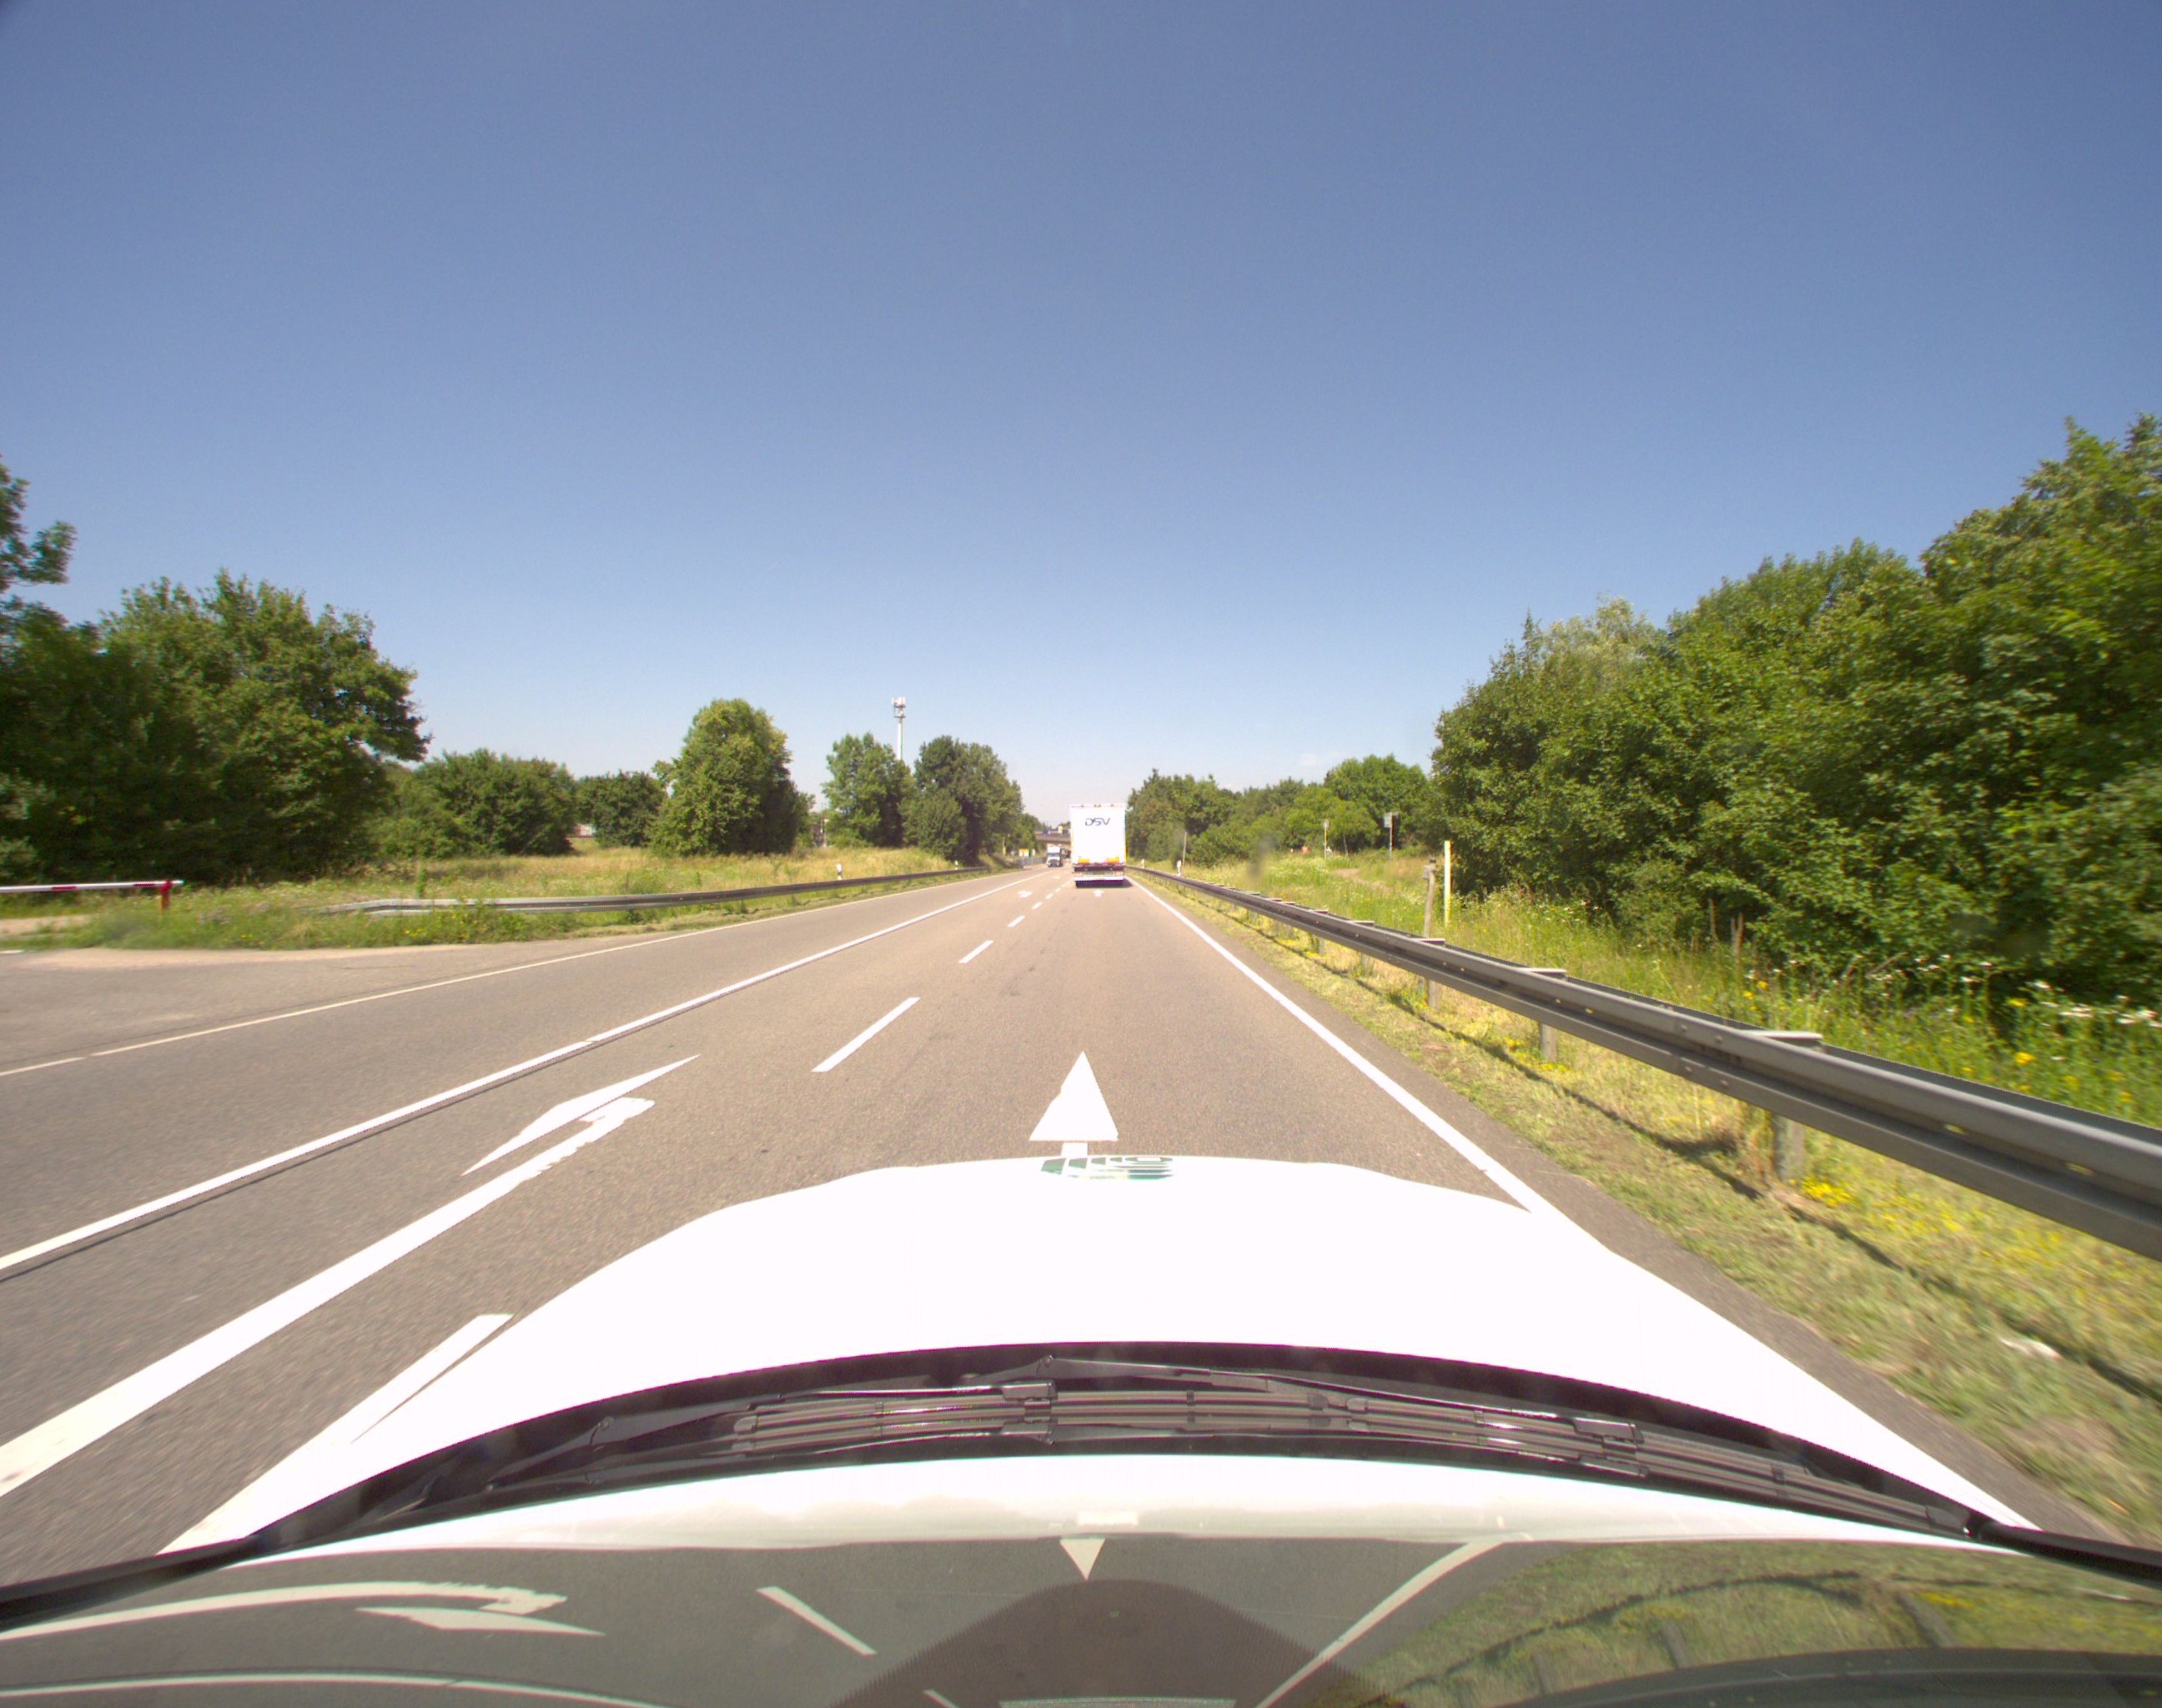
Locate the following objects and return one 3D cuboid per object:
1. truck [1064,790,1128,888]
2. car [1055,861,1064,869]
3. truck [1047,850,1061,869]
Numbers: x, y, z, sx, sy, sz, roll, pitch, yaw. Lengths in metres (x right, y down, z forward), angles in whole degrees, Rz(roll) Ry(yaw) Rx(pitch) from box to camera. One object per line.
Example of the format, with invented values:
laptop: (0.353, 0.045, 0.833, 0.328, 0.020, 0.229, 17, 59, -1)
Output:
truck: (0.864, -0.651, 43.062, 2.939, 4.569, 9.866, -1, -1, 2)
car: (-4.953, 2.508, 187.826, 1.741, 1.626, 3.702, -1, 0, 0)
truck: (-5.557, 1.144, 170.114, 2.345, 3.750, 12.624, -1, 0, 0)
